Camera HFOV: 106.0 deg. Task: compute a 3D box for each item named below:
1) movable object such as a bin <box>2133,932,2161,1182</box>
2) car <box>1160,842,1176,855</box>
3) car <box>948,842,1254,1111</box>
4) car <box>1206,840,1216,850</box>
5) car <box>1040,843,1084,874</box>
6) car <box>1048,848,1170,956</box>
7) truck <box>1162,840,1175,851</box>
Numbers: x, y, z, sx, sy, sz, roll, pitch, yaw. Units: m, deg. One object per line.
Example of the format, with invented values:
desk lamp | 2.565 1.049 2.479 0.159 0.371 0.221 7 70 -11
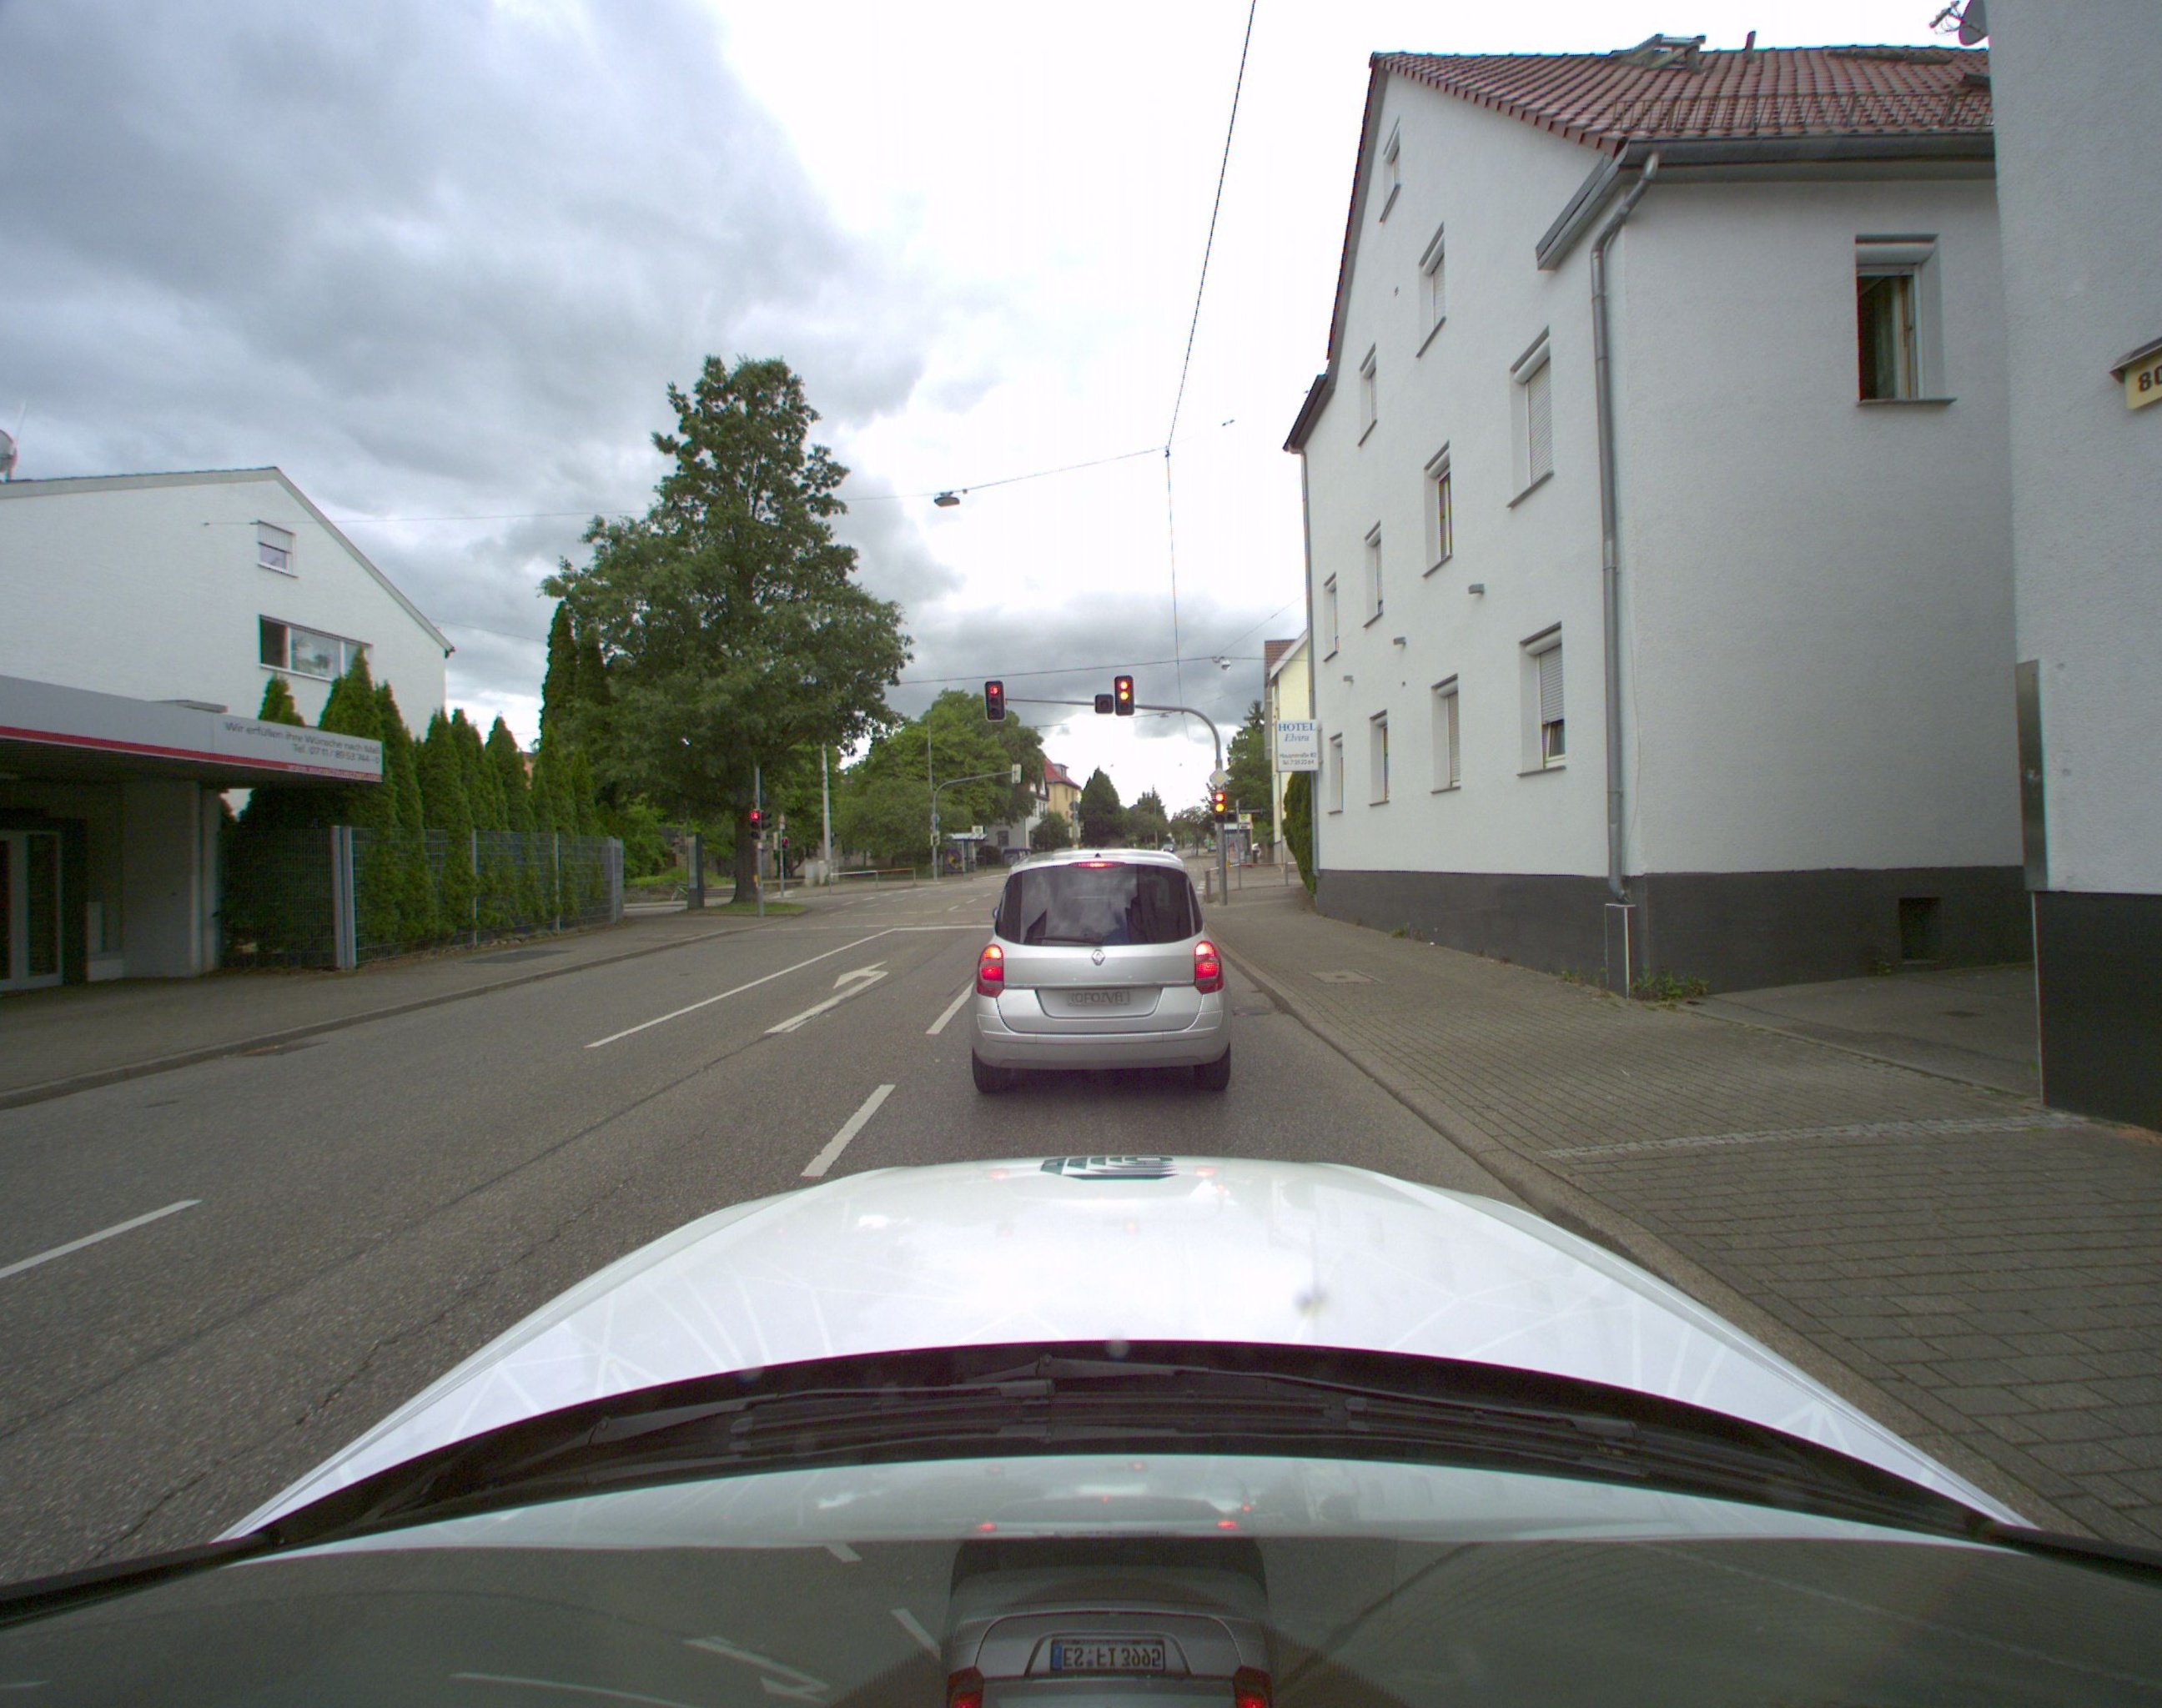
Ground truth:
movable object such as a bin | 4.325 0.756 2.870 0.538 0.941 0.487 -4 -1 2
car | 12.613 -0.772 118.113 1.844 1.748 4.015 -1 0 13
car | 0.165 0.713 6.710 1.748 1.530 4.001 -1 0 1
car | 34.053 -2.349 213.779 2.044 2.512 5.616 -1 0 14
car | -1.226 0.266 54.384 1.913 1.773 4.013 -6 -1 12
car | 0.451 0.697 13.679 1.748 1.530 3.798 -1 0 1
truck | 17.888 -1.734 166.363 2.088 2.013 5.766 -1 0 11
